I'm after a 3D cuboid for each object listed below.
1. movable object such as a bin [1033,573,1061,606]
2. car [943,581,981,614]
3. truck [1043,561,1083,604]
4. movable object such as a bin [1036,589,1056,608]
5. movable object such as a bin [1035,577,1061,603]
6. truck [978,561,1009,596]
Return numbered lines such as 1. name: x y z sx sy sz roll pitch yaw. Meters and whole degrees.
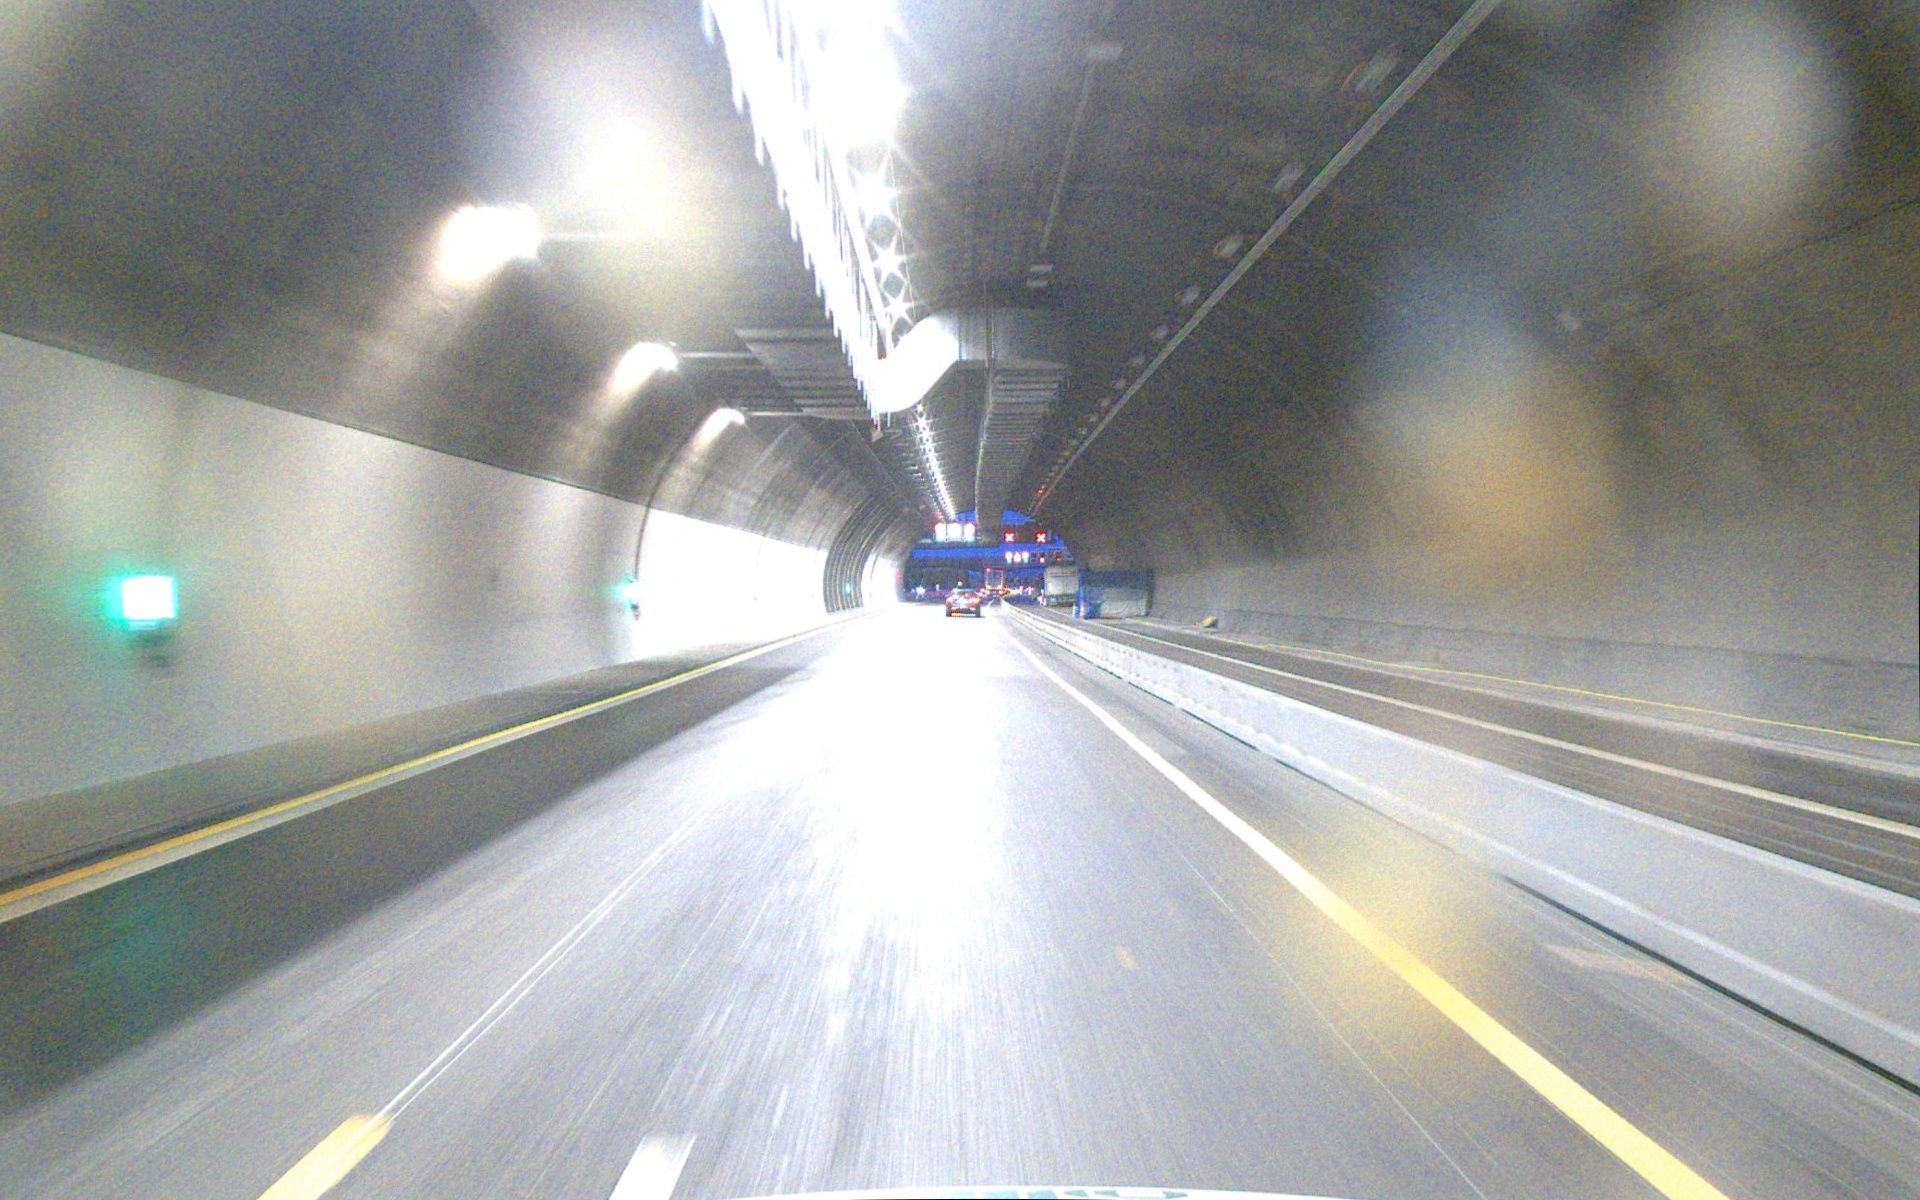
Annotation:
1. movable object such as a bin: 7.665 -0.914 146.062 2.192 2.843 7.233 1 0 1
2. car: 0.082 -0.138 87.360 1.850 1.635 3.998 1 0 -2
3. truck: 8.521 -1.405 137.230 2.833 3.329 8.401 1 0 1
4. movable object such as a bin: 8.858 -0.162 170.386 1.938 1.847 3.837 1 0 1
5. movable object such as a bin: 9.729 -1.082 182.879 2.680 2.802 7.051 1 0 2
6. truck: 5.015 -3.183 250.371 4.452 5.074 9.599 1 0 0
